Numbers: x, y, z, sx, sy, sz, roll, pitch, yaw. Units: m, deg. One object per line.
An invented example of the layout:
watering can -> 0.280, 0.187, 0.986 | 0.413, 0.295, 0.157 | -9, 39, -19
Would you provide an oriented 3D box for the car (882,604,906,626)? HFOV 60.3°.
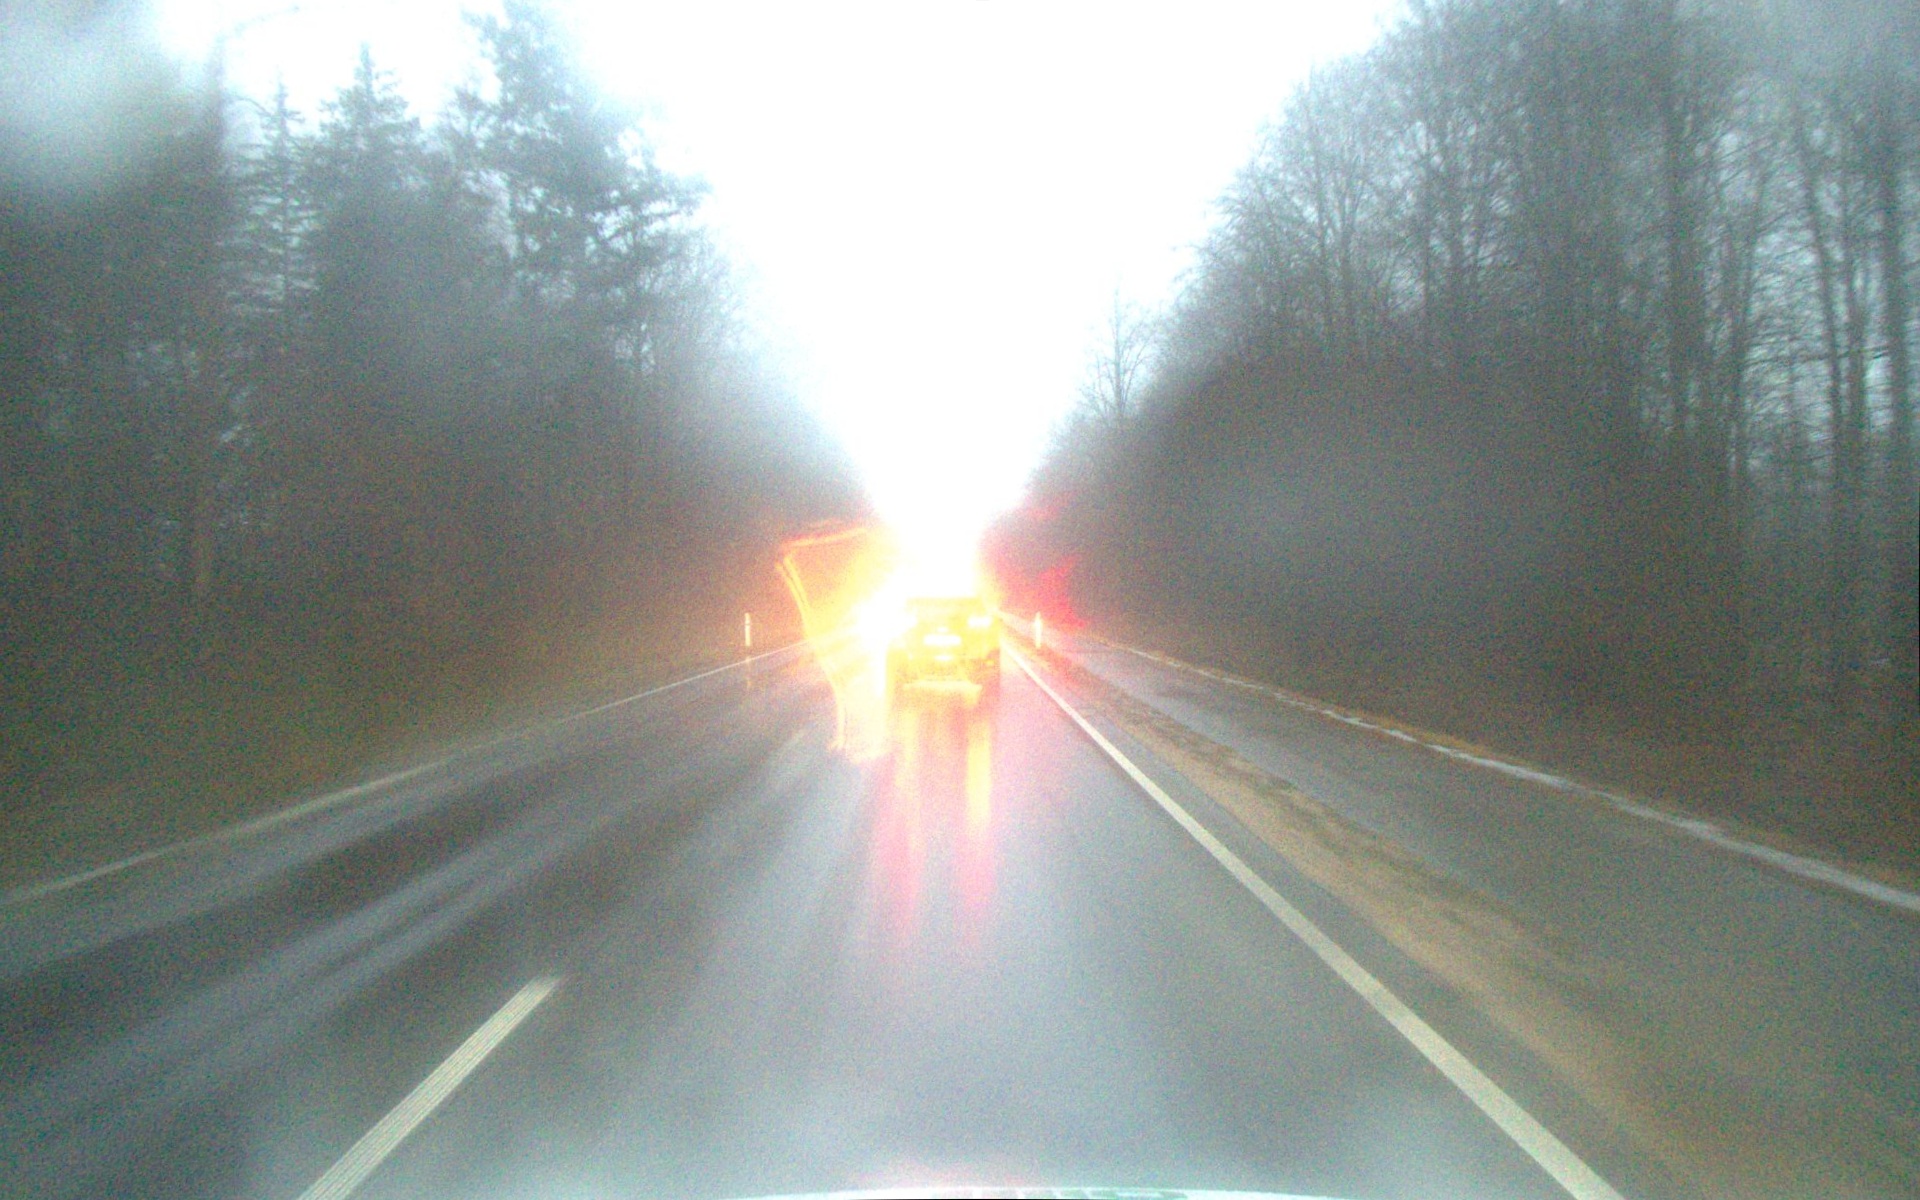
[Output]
car -> -4.503, 1.026, 113.871 | 1.482, 1.438, 3.660 | -1, 0, 0
